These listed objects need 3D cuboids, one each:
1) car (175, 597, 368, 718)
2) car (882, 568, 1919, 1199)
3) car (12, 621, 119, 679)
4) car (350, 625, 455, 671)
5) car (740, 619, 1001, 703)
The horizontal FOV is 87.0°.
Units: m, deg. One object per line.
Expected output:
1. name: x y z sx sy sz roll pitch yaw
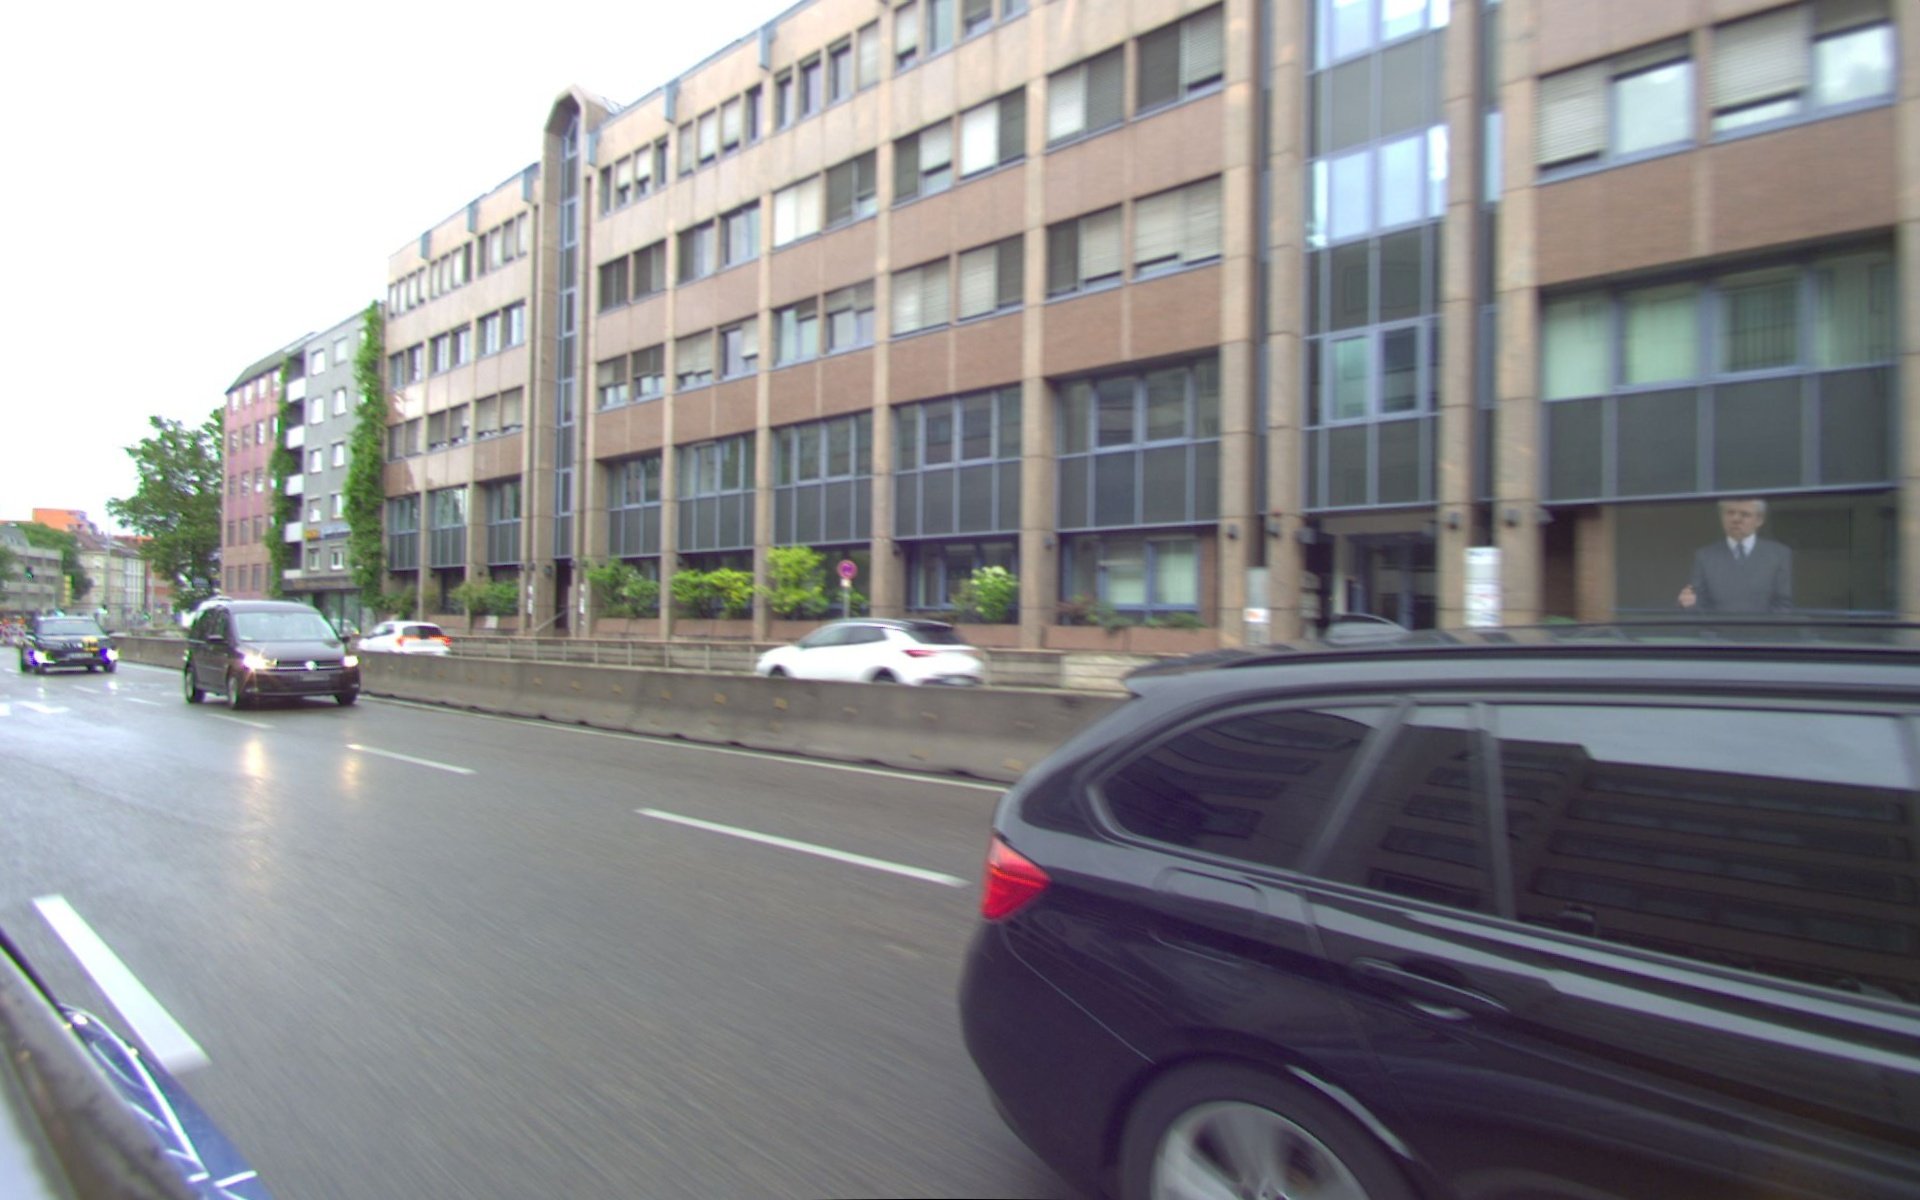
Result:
1. car: -11.826 0.916 17.272 4.250 1.814 1.775 -1 -2 42
2. car: 2.137 0.696 1.503 4.653 1.454 1.749 -1 -2 41
3. car: -25.884 1.402 29.228 4.354 1.545 1.749 -1 -2 41
4. car: -17.370 1.455 31.466 3.695 1.329 1.701 -1 -2 41
5. car: -1.651 0.997 17.612 4.544 1.279 1.826 -1 -2 39
